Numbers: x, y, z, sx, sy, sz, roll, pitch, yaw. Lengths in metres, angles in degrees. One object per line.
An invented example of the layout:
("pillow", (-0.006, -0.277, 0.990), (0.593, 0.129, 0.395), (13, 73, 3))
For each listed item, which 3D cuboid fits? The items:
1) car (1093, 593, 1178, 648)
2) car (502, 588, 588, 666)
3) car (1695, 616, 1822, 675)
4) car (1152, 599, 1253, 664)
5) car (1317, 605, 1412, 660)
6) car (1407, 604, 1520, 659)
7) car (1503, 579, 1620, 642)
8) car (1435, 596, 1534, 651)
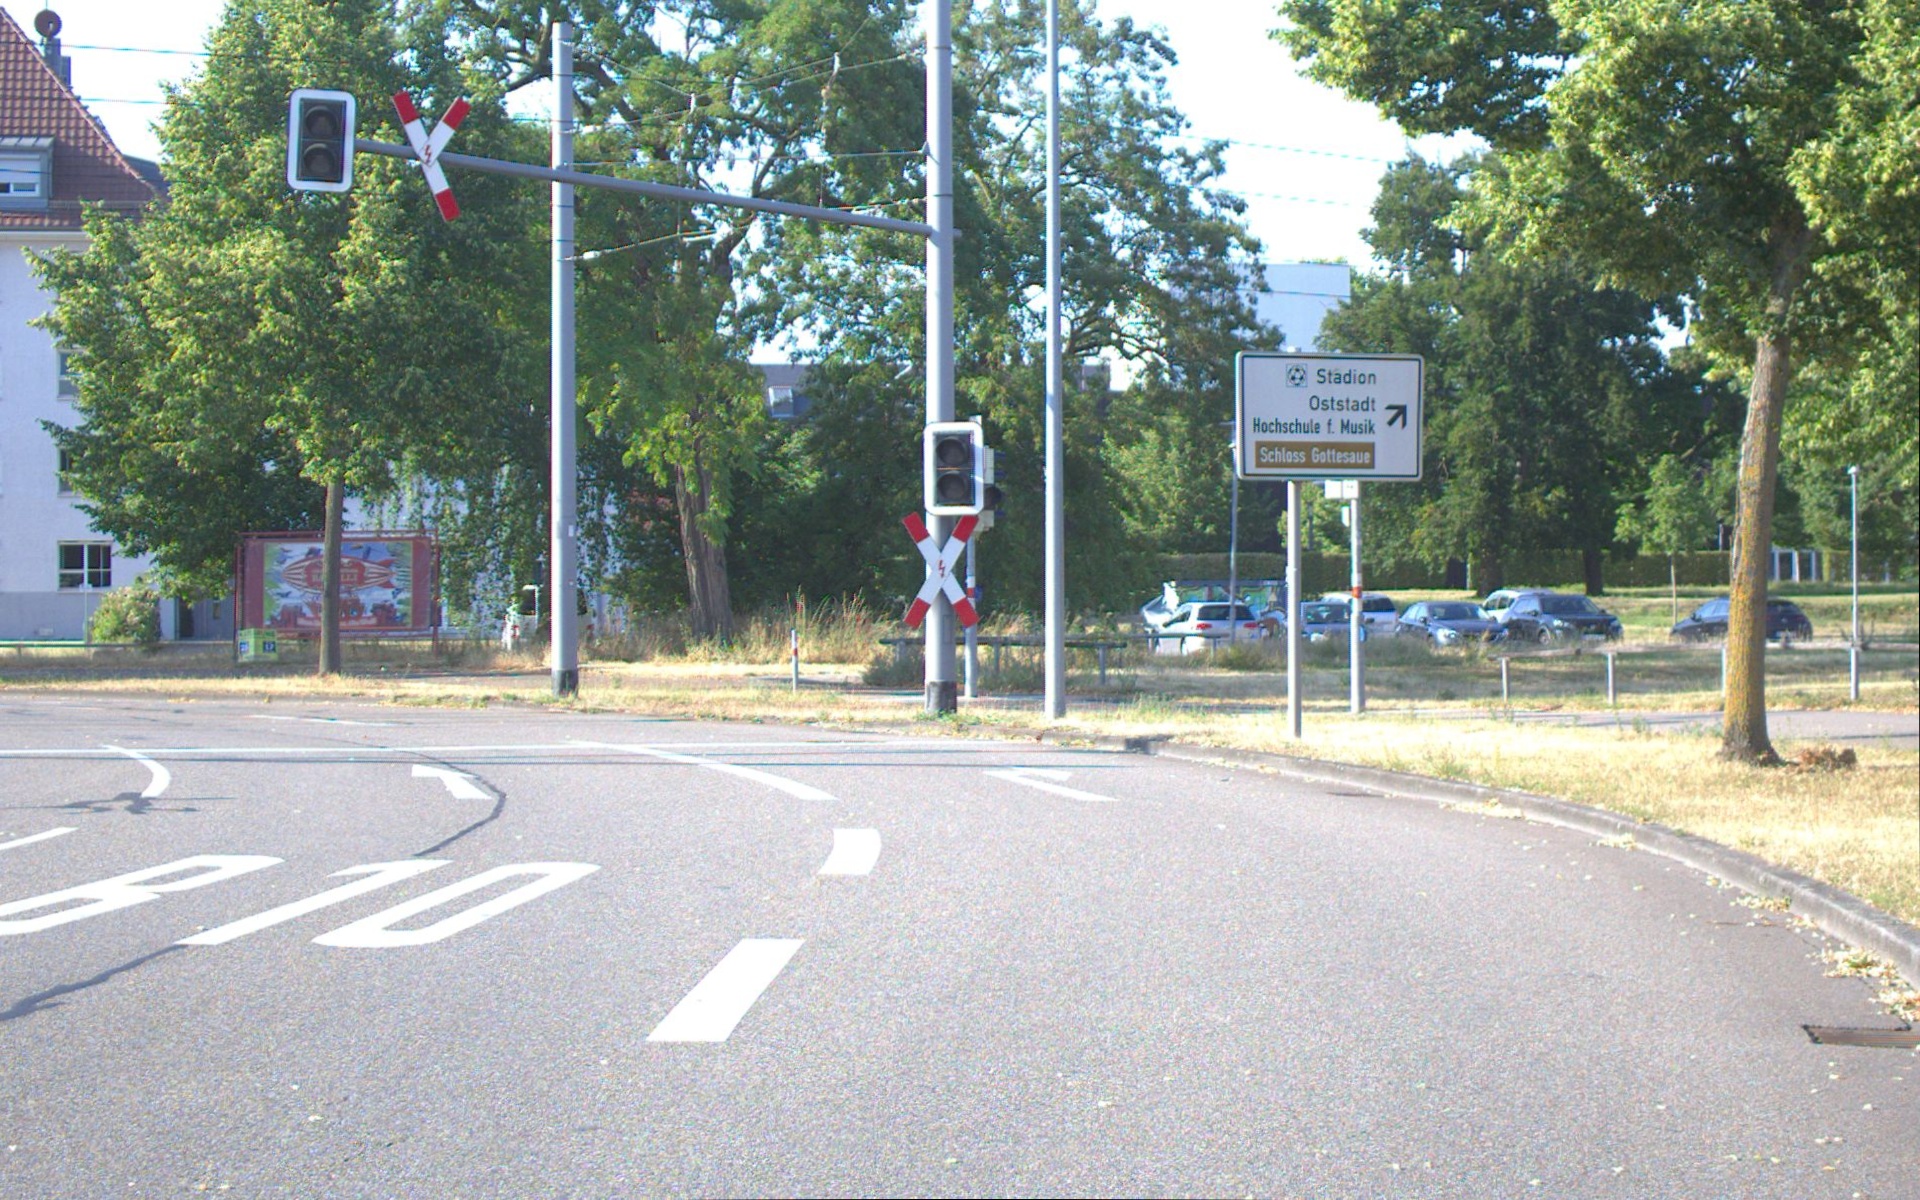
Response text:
("car", (4.543, 0.524, 89.517), (1.601, 1.397, 3.969), (0, 0, -6))
("car", (-8.914, 0.573, 74.136), (1.771, 1.612, 3.969), (0, 0, -6))
("car", (18.248, 1.021, 78.713), (1.601, 1.305, 3.969), (0, 0, -6))
("car", (5.424, 0.698, 77.267), (1.601, 1.397, 3.969), (0, 0, -6))
("car", (10.531, 0.848, 89.740), (1.601, 1.397, 3.969), (0, 0, -6))
("car", (11.401, 0.708, 78.130), (1.601, 1.216, 3.969), (0, 0, -6))
("car", (13.650, 0.238, 78.210), (1.601, 1.397, 3.969), (0, 0, -6))
("car", (13.706, 0.613, 90.046), (1.601, 1.397, 3.969), (0, 0, -6))
